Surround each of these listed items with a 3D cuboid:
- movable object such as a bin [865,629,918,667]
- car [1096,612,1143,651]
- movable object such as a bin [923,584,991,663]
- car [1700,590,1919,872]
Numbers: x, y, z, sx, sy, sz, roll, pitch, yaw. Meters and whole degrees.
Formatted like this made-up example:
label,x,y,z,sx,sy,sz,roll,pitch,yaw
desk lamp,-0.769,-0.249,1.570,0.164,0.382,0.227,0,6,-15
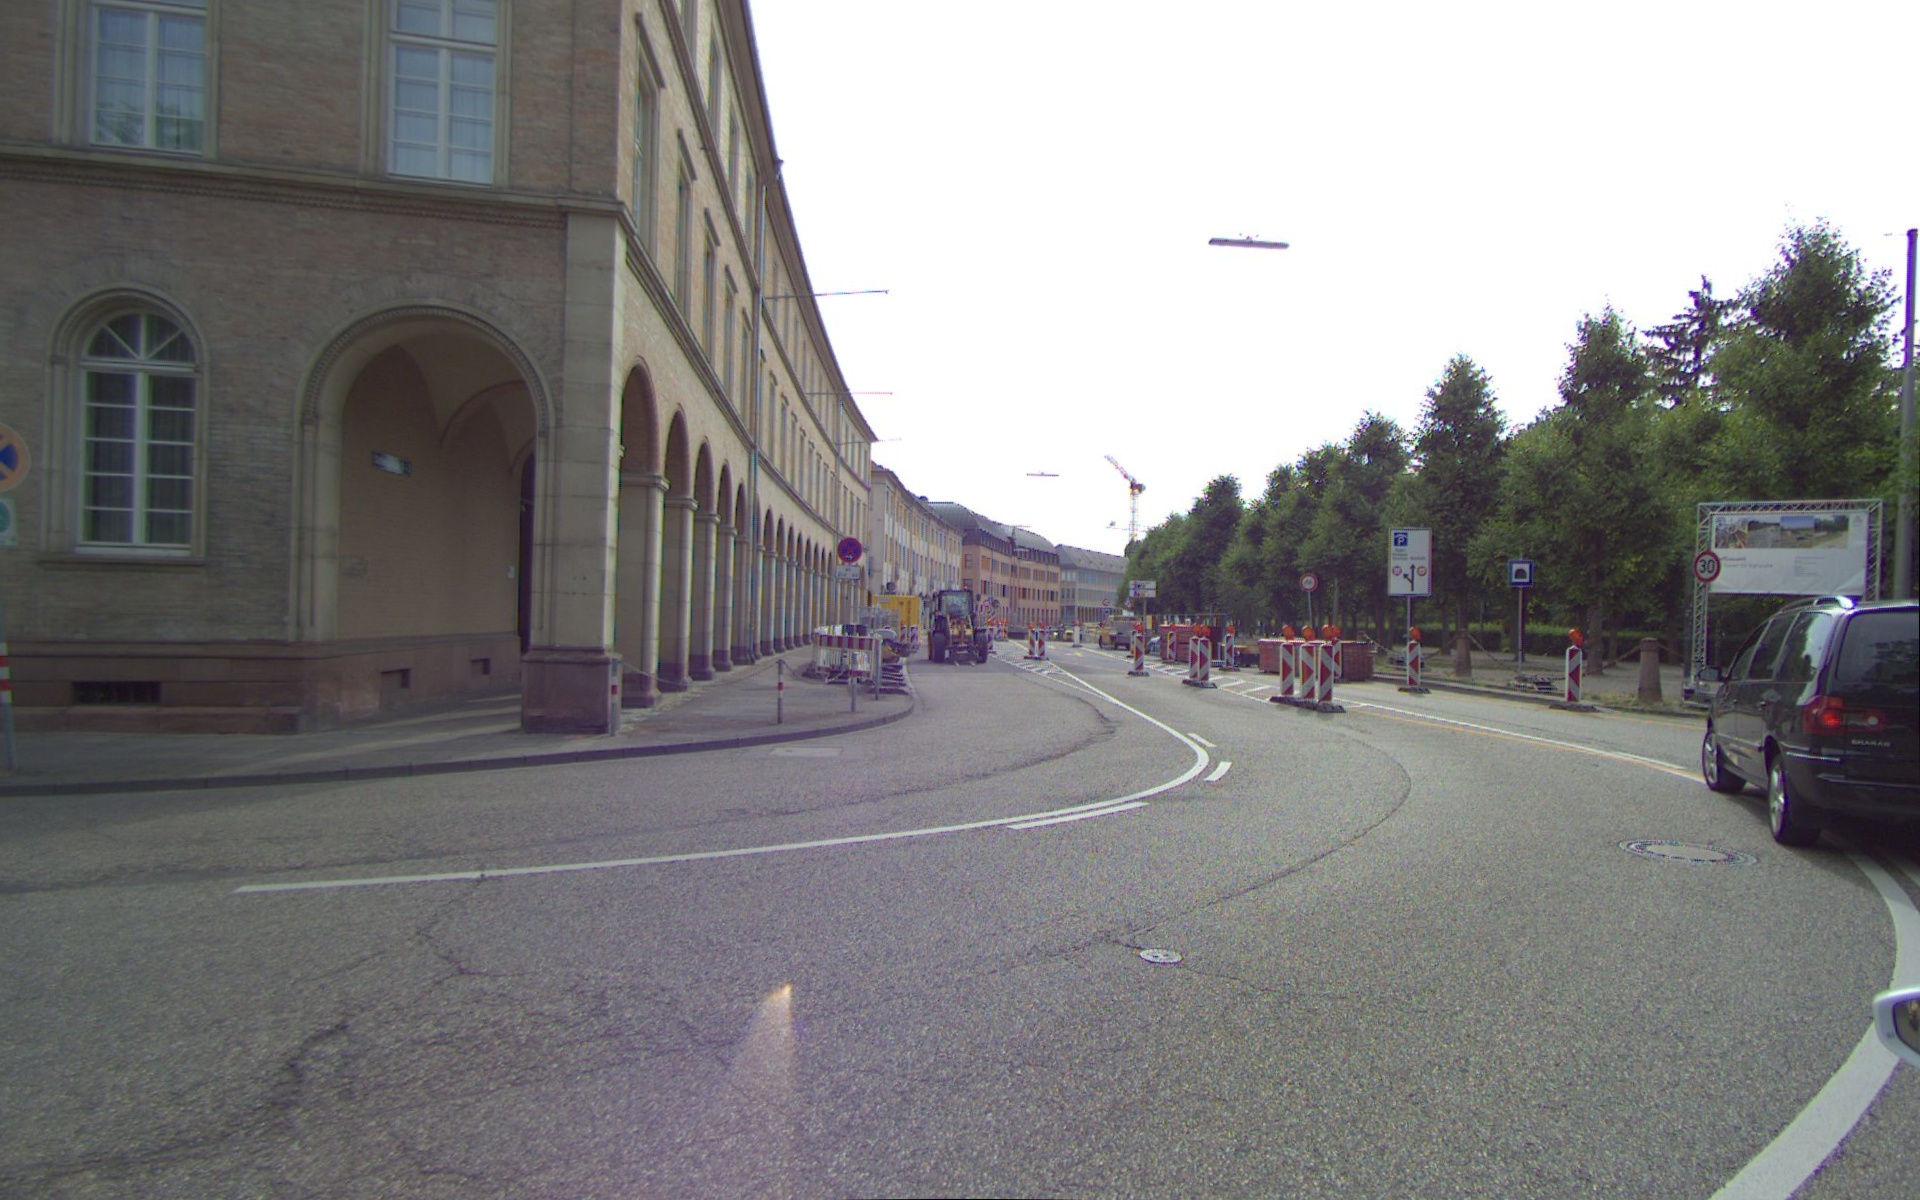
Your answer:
label,x,y,z,sx,sy,sz,roll,pitch,yaw
movable object such as a bin,-2.405,1.657,35.341,1.778,1.140,2.746,1,1,-4
car,9.294,1.801,58.759,1.961,2.041,4.344,1,1,-1
movable object such as a bin,-0.171,0.878,37.685,2.082,2.754,4.616,1,-1,-5
car,7.156,0.857,7.830,1.767,1.731,4.123,1,-1,30
